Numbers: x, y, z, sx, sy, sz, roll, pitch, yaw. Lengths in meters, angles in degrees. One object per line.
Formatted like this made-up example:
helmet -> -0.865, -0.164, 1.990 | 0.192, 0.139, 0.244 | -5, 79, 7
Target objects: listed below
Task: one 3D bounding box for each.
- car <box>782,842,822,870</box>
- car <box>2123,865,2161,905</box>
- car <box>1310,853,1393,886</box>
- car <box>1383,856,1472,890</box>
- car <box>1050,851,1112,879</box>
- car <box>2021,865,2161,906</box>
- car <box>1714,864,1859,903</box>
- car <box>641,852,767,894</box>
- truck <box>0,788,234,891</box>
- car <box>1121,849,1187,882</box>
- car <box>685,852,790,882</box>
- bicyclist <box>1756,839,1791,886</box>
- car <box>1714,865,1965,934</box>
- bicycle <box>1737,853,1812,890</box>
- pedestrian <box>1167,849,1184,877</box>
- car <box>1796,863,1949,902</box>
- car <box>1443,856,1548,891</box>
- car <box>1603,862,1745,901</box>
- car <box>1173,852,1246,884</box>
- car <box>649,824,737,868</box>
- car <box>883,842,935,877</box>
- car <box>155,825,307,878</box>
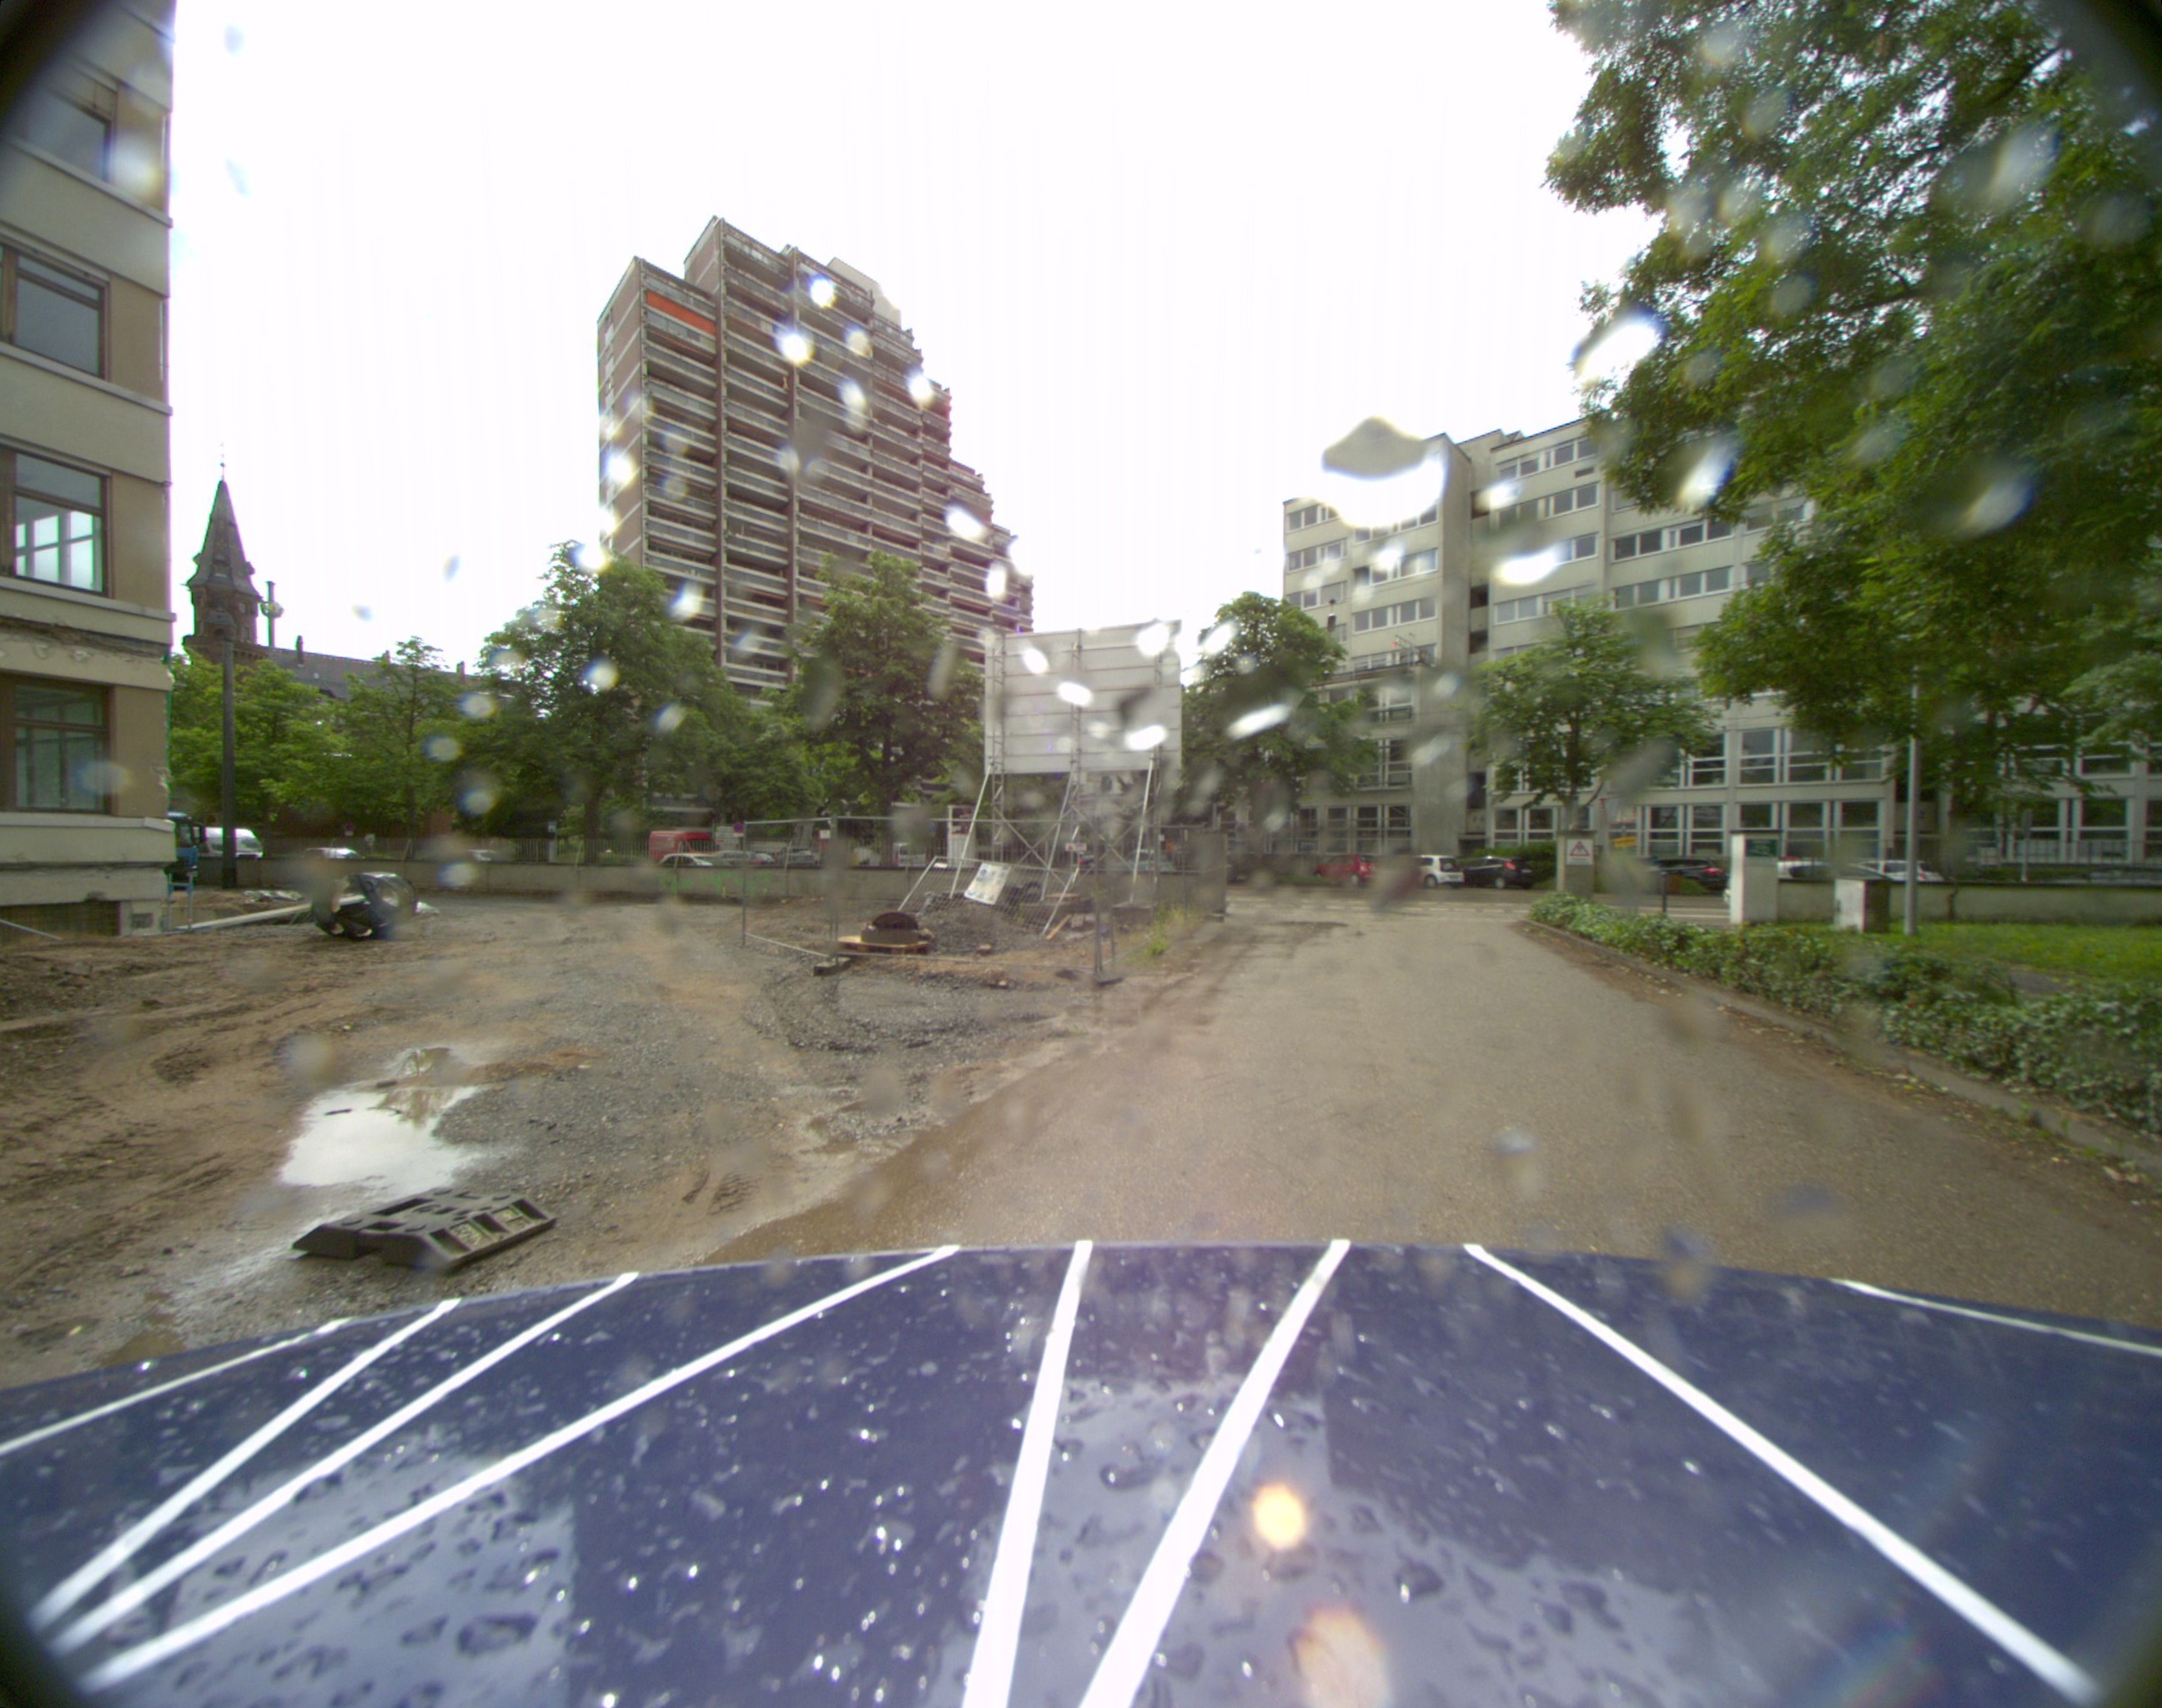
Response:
car -> -16.814, 0.082, 45.703 | 1.788, 1.556, 4.036 | 0, 2, -27
car -> 40.845, 1.116, 26.907 | 1.888, 1.444, 4.386 | 0, -1, -26
car -> 12.783, 0.710, 36.107 | 1.744, 1.461, 3.400 | 2, 0, -26
car -> 15.734, 0.822, 34.612 | 1.713, 1.444, 3.400 | 0, 1, -23
car -> -0.058, 0.554, 40.231 | 1.772, 1.389, 3.641 | 0, 1, -28
car -> 37.954, 1.119, 27.785 | 1.816, 1.444, 4.198 | 0, -1, -26
car -> 28.264, 1.161, 30.560 | 1.825, 1.445, 3.874 | 1, -1, -27
car -> -13.838, 0.680, 27.929 | 3.991, 1.462, 1.893 | 0, -1, 19
truck -> -37.402, -0.417, 28.957 | 9.888, 3.506, 3.248 | 0, -1, 19
car -> 3.639, 0.536, 38.450 | 1.711, 1.542, 3.641 | 0, 1, -25
car -> -17.583, 0.648, 38.949 | 4.753, 1.472, 2.003 | 0, -1, 17
bicyclist -> 24.138, 0.289, 26.490 | 0.673, 1.607, 0.646 | 0, -1, 11
car -> 17.643, 1.011, 17.897 | 3.824, 1.451, 1.693 | 1, -1, 18
bicycle -> 24.158, 0.619, 26.481 | 1.865, 1.258, 0.646 | 0, -1, 11
pedestrian -> 5.910, 0.595, 47.661 | 0.708, 1.732, 0.838 | 0, -1, -23
car -> 31.321, 1.101, 30.204 | 1.780, 1.445, 3.874 | 1, -1, -27
car -> 18.617, 0.858, 34.326 | 1.818, 1.472, 3.972 | 0, 0, -20
car -> 25.025, 1.150, 32.257 | 1.881, 1.545, 4.361 | 2, -2, -28
car -> 6.273, 0.660, 37.456 | 1.744, 1.461, 3.641 | 0, 1, -26
car -> -24.084, -0.488, 47.120 | 5.467, 2.618, 2.307 | 1, 0, 32
car -> -9.811, 0.260, 43.054 | 1.941, 1.886, 4.635 | 1, 1, -25
car -> -41.941, -0.056, 37.530 | 6.140, 2.459, 2.600 | 0, -1, 16
